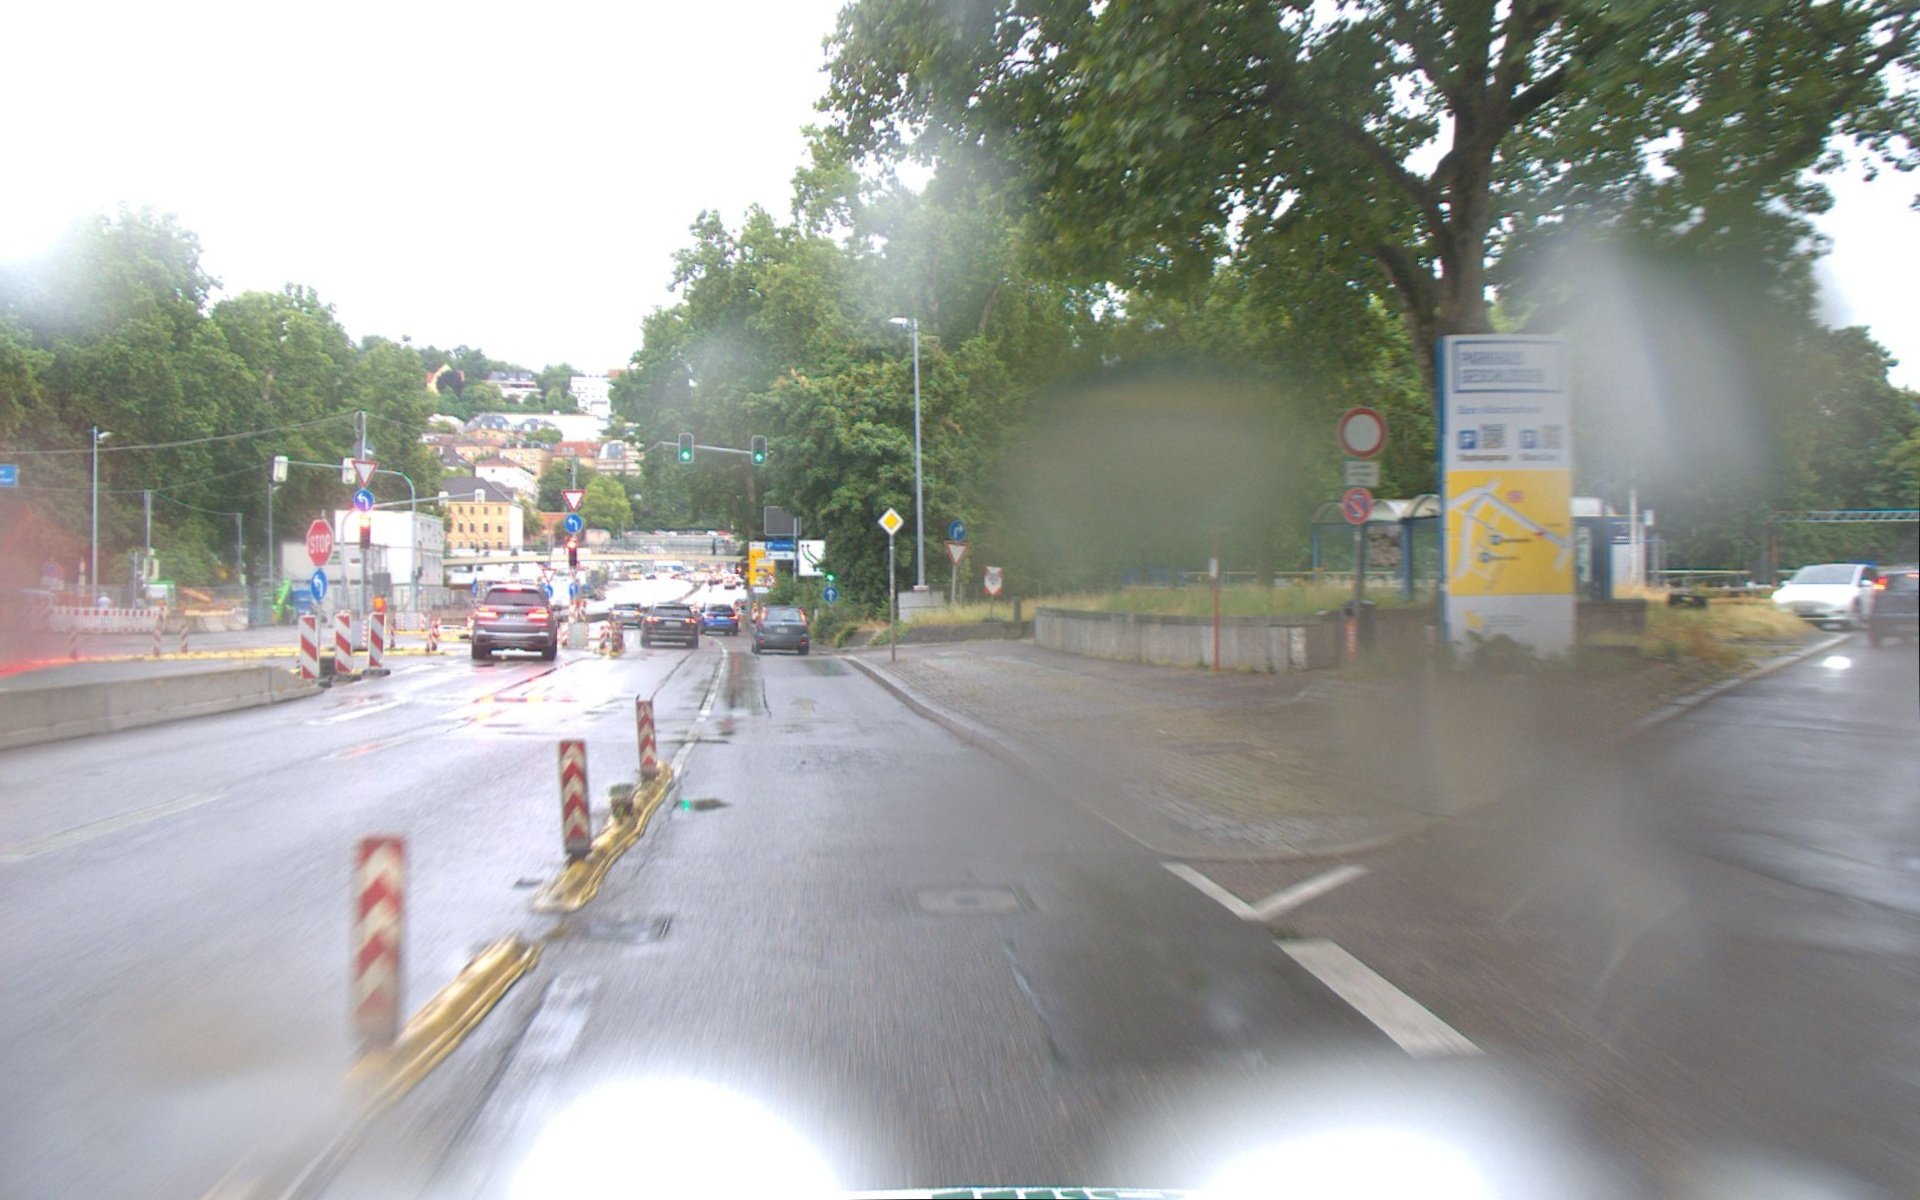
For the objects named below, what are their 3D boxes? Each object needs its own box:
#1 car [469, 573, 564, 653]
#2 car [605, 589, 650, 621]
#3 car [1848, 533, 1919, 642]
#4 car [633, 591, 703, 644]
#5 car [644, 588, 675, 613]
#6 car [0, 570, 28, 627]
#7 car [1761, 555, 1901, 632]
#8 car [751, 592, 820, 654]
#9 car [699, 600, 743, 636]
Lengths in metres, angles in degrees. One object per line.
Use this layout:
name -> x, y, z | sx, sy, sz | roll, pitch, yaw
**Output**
car -> -11.032, 0.303, 41.358 | 1.958, 1.859, 3.990 | 1, 0, -11
car -> -18.575, 0.257, 92.523 | 1.866, 1.747, 3.998 | 1, 0, -3
car -> 19.369, -0.215, 32.766 | 2.096, 2.049, 4.620 | 1, 0, 42
car -> -9.813, 0.553, 55.792 | 1.794, 1.715, 4.132 | 0, 1, -2
car -> -20.421, 0.011, 112.235 | 1.609, 1.653, 3.777 | 1, 0, -17
car -> -41.938, -0.050, 71.248 | 1.883, 2.403, 4.500 | -1, 0, -13
car -> 21.867, -0.142, 41.451 | 1.918, 1.812, 4.422 | 1, 0, 45
car -> -5.211, 0.664, 49.892 | 1.815, 1.747, 3.998 | 1, 0, -3
car -> -11.326, 0.832, 78.595 | 1.640, 1.609, 3.239 | 1, 0, -1
